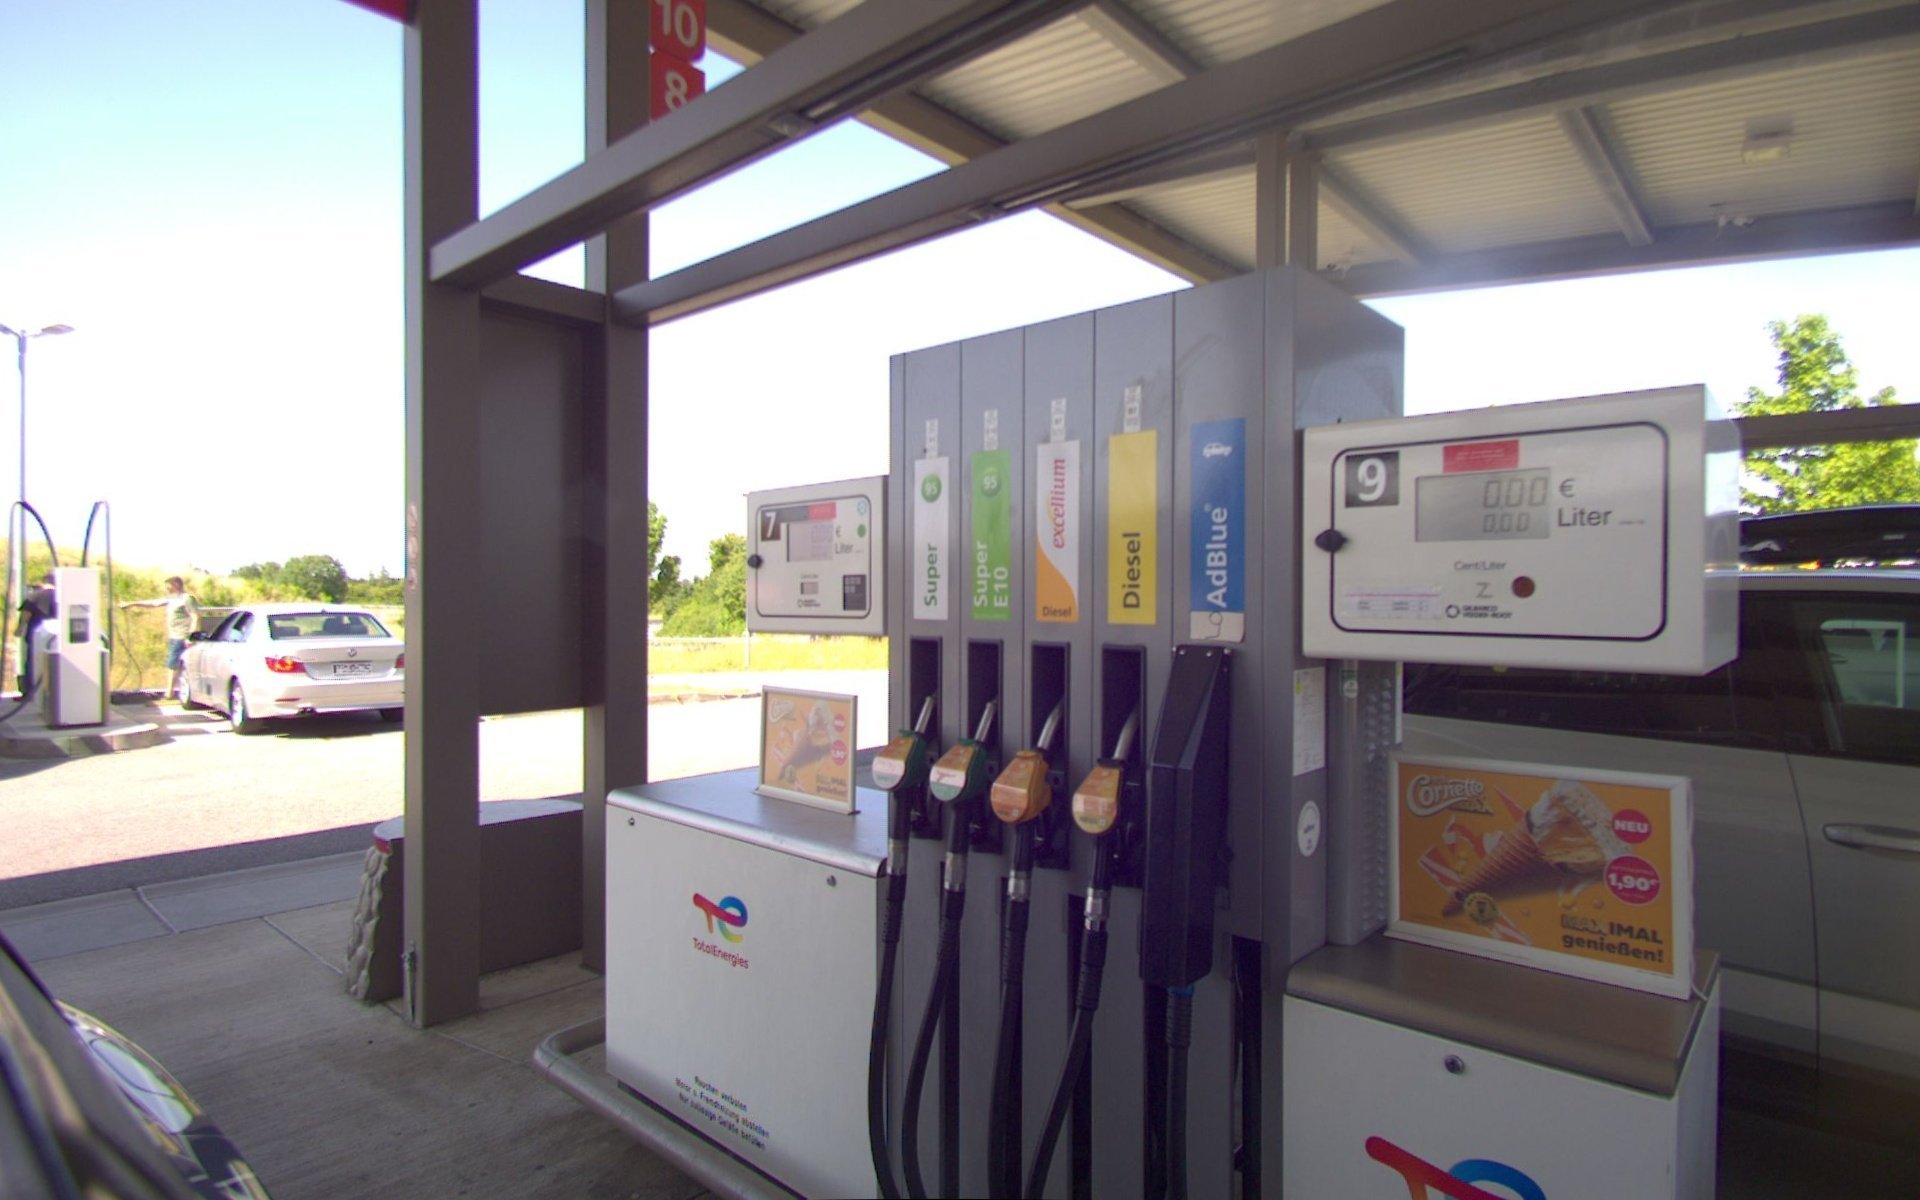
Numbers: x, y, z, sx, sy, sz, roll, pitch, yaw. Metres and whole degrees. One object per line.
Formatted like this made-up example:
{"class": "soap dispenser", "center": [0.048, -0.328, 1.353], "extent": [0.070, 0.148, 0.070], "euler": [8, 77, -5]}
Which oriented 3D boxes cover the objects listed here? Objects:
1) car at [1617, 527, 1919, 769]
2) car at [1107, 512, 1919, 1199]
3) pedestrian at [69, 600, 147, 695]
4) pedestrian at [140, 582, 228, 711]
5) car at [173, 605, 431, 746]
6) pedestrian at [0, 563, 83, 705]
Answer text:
{"class": "car", "center": [7.702, 0.335, 7.574], "extent": [4.530, 1.700, 1.842], "euler": [-1, -1, 38]}
{"class": "car", "center": [2.684, 0.595, 2.641], "extent": [4.325, 1.553, 1.761], "euler": [-1, -1, 43]}
{"class": "pedestrian", "center": [-12.041, 0.659, 14.325], "extent": [0.569, 1.316, 0.670], "euler": [0, -1, -6]}
{"class": "pedestrian", "center": [-10.990, 0.635, 14.341], "extent": [0.708, 1.762, 0.834], "euler": [-1, -1, 37]}
{"class": "car", "center": [-8.435, 0.802, 12.810], "extent": [4.322, 1.439, 1.768], "euler": [1, 0, 43]}
{"class": "pedestrian", "center": [-12.010, 0.429, 13.022], "extent": [0.833, 1.783, 0.709], "euler": [0, -1, -2]}
